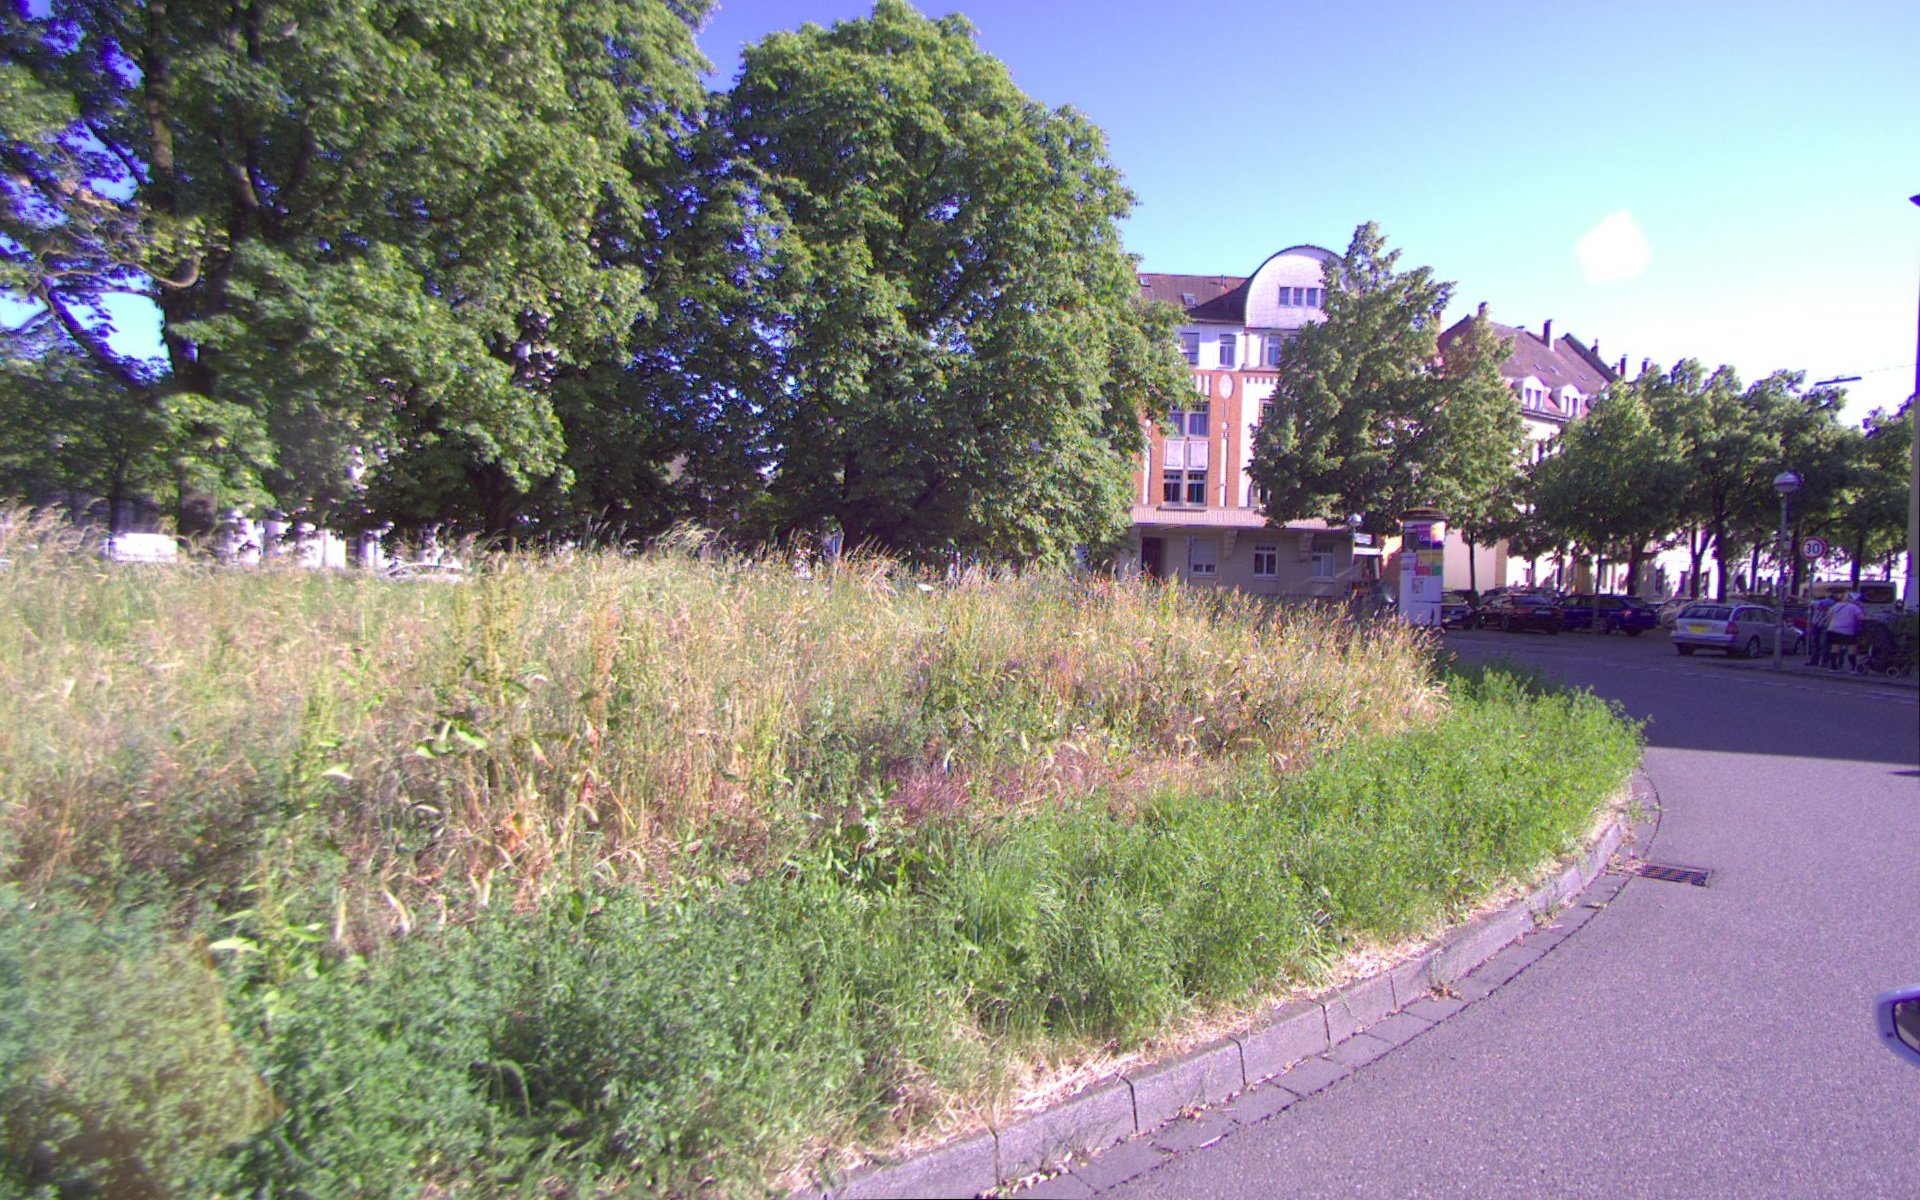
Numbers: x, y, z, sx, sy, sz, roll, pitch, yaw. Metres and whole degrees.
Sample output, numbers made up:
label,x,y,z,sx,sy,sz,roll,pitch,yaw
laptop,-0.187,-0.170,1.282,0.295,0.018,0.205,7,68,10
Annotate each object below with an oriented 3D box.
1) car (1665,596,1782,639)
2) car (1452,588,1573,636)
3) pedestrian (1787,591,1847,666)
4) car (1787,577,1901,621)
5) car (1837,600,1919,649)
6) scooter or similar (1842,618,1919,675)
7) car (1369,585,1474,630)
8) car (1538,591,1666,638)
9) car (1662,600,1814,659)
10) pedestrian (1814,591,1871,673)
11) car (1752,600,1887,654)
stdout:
label,x,y,z,sx,sy,sz,roll,pitch,yaw
car,32.835,0.730,43.312,1.707,1.659,3.667,2,1,-21
car,19.798,0.379,36.190,1.704,1.567,3.672,2,1,-16
pedestrian,18.137,0.586,21.262,0.690,1.544,0.818,0,0,-33
car,44.004,-0.073,50.158,2.129,2.014,4.201,2,1,5
car,30.537,0.815,32.654,4.336,1.458,1.721,2,1,-30
scooter or similar,17.306,0.856,18.750,0.883,1.036,0.916,0,0,-10
car,17.384,0.246,38.014,1.703,1.567,3.676,2,1,-12
car,23.732,0.499,37.275,1.707,1.567,3.667,2,1,-21
car,21.228,0.796,27.379,4.437,1.430,1.718,1,1,-30
pedestrian,17.063,0.602,19.418,0.689,1.544,0.645,0,0,-30
car,25.605,0.810,29.895,4.336,1.458,1.721,2,1,-30
